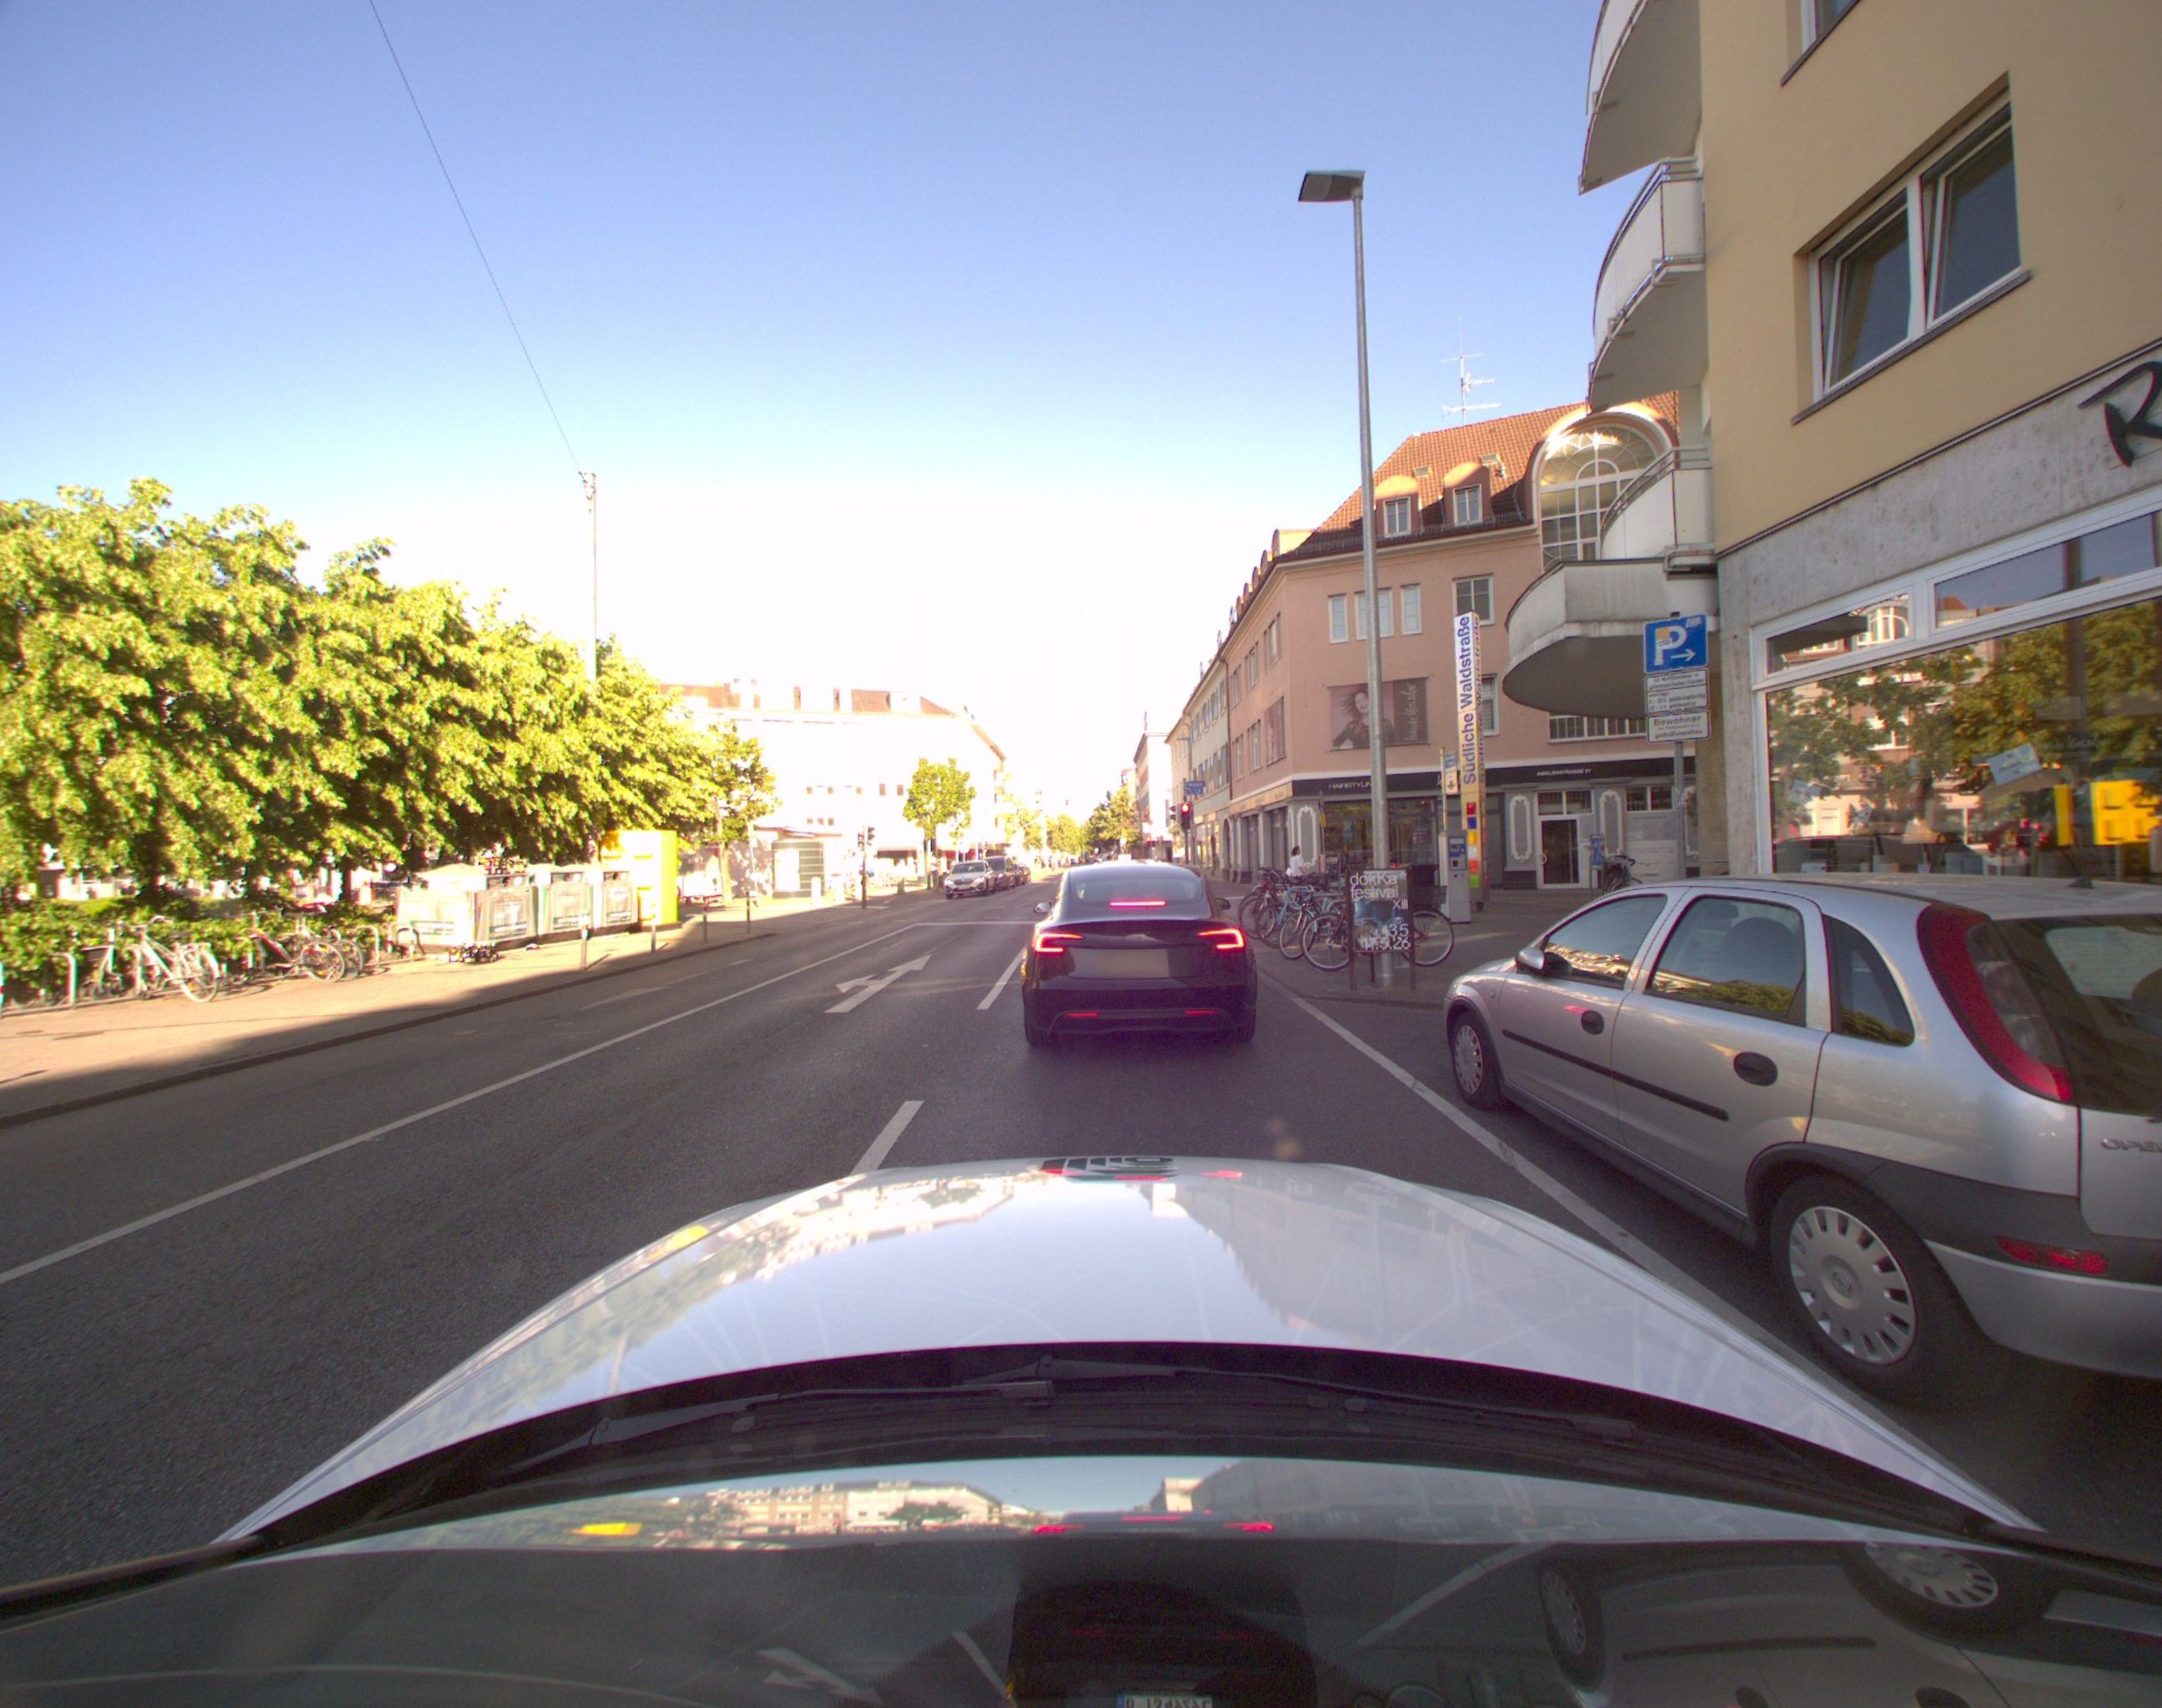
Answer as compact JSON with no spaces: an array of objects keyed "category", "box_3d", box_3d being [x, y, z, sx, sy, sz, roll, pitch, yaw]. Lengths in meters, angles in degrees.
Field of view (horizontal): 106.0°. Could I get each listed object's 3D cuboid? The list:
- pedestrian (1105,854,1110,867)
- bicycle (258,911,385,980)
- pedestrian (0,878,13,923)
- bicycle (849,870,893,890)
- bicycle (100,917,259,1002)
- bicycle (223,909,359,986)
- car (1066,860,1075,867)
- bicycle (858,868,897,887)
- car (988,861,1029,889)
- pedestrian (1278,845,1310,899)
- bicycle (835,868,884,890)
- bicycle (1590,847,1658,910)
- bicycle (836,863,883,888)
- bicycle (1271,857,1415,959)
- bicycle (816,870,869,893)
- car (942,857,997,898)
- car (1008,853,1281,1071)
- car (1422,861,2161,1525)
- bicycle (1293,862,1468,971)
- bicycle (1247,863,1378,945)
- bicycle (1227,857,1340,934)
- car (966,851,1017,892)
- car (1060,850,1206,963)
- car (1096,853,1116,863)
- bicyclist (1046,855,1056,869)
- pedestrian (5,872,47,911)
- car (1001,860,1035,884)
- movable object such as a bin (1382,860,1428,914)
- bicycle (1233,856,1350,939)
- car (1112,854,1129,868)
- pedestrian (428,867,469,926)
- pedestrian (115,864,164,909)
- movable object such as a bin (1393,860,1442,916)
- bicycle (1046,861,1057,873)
[{"category":"pedestrian","box_3d":[3.933,0.965,121.085,0.639,2.014,0.690,-1,-1,-2]},{"category":"bicycle","box_3d":[-11.362,1.368,12.201,1.517,0.958,0.431,-1,1,3]},{"category":"pedestrian","box_3d":[-49.939,2.137,37.246,0.985,2.014,0.905,-1,0,3]},{"category":"bicycle","box_3d":[-12.948,1.573,50.265,2.528,1.156,0.841,-1,0,-4]},{"category":"bicycle","box_3d":[-11.453,1.330,10.361,1.590,1.018,0.430,-1,0,3]},{"category":"bicycle","box_3d":[-11.317,1.334,11.680,1.561,1.023,0.430,-1,0,3]},{"category":"car","box_3d":[-2.485,2.163,187.380,1.988,1.637,3.998,-1,0,-1]},{"category":"bicycle","box_3d":[-13.164,1.517,52.700,2.318,1.156,0.841,-1,0,-4]},{"category":"car","box_3d":[-4.361,1.234,49.690,1.988,1.410,4.672,-5,0,-1]},{"category":"pedestrian","box_3d":[6.357,0.530,24.338,0.744,1.552,0.699,-1,0,1]},{"category":"bicycle","box_3d":[-12.374,1.367,45.560,2.453,1.156,0.843,-1,0,0]},{"category":"bicycle","box_3d":[11.097,0.474,16.726,0.653,1.199,2.223,-2,0,21]},{"category":"bicycle","box_3d":[-12.905,1.246,47.507,2.472,1.324,0.921,-1,0,-4]},{"category":"bicycle","box_3d":[3.543,0.726,11.163,1.713,1.268,0.792,-3,-1,7]},{"category":"bicycle","box_3d":[-12.580,1.439,43.030,2.497,1.156,0.843,-1,0,0]},{"category":"car","box_3d":[-4.942,0.993,36.609,1.802,1.555,4.308,-5,0,-1]},{"category":"car","box_3d":[0.500,0.758,7.615,1.841,1.455,4.001,-2,0,2]},{"category":"car","box_3d":[2.971,0.732,3.534,1.607,1.382,3.645,0,0,2]},{"category":"bicycle","box_3d":[3.640,0.752,10.027,1.876,1.193,0.693,-3,0,7]},{"category":"bicycle","box_3d":[3.523,0.755,12.516,1.788,1.124,0.783,-3,-1,7]},{"category":"bicycle","box_3d":[3.624,0.740,14.724,1.851,1.258,0.834,-3,-1,7]},{"category":"car","box_3d":[-4.637,0.867,42.871,1.827,1.845,4.677,-5,0,2]},{"category":"car","box_3d":[0.742,0.724,13.323,1.987,1.512,4.175,-1,0,0]},{"category":"car","box_3d":[5.122,0.850,167.684,3.974,2.013,2.000,-1,0,0]},{"category":"bicyclist","box_3d":[-3.503,0.928,95.895,1.123,1.628,0.965,-1,0,-1]},{"category":"pedestrian","box_3d":[-56.065,2.010,43.277,1.272,2.013,0.908,-1,0,13]},{"category":"car","box_3d":[-4.391,1.258,57.288,1.988,1.436,4.672,-5,0,-1]},{"category":"movable object such as a bin","box_3d":[6.754,0.677,16.991,0.730,1.092,0.628,0,-1,3]},{"category":"bicycle","box_3d":[3.508,0.711,13.696,1.738,1.267,0.782,-3,-1,4]},{"category":"car","box_3d":[4.902,0.859,100.946,1.986,1.629,4.002,-1,0,2]},{"category":"pedestrian","box_3d":[-22.238,1.488,28.648,0.980,2.013,0.910,-2,-1,38]},{"category":"pedestrian","box_3d":[-42.941,1.485,37.153,1.388,2.014,0.908,-1,0,14]},{"category":"movable object such as a bin","box_3d":[6.745,0.672,16.353,0.749,1.092,0.628,0,-1,3]},{"category":"bicycle","box_3d":[-3.477,1.543,95.798,1.108,1.344,3.998,-1,0,-1]}]
